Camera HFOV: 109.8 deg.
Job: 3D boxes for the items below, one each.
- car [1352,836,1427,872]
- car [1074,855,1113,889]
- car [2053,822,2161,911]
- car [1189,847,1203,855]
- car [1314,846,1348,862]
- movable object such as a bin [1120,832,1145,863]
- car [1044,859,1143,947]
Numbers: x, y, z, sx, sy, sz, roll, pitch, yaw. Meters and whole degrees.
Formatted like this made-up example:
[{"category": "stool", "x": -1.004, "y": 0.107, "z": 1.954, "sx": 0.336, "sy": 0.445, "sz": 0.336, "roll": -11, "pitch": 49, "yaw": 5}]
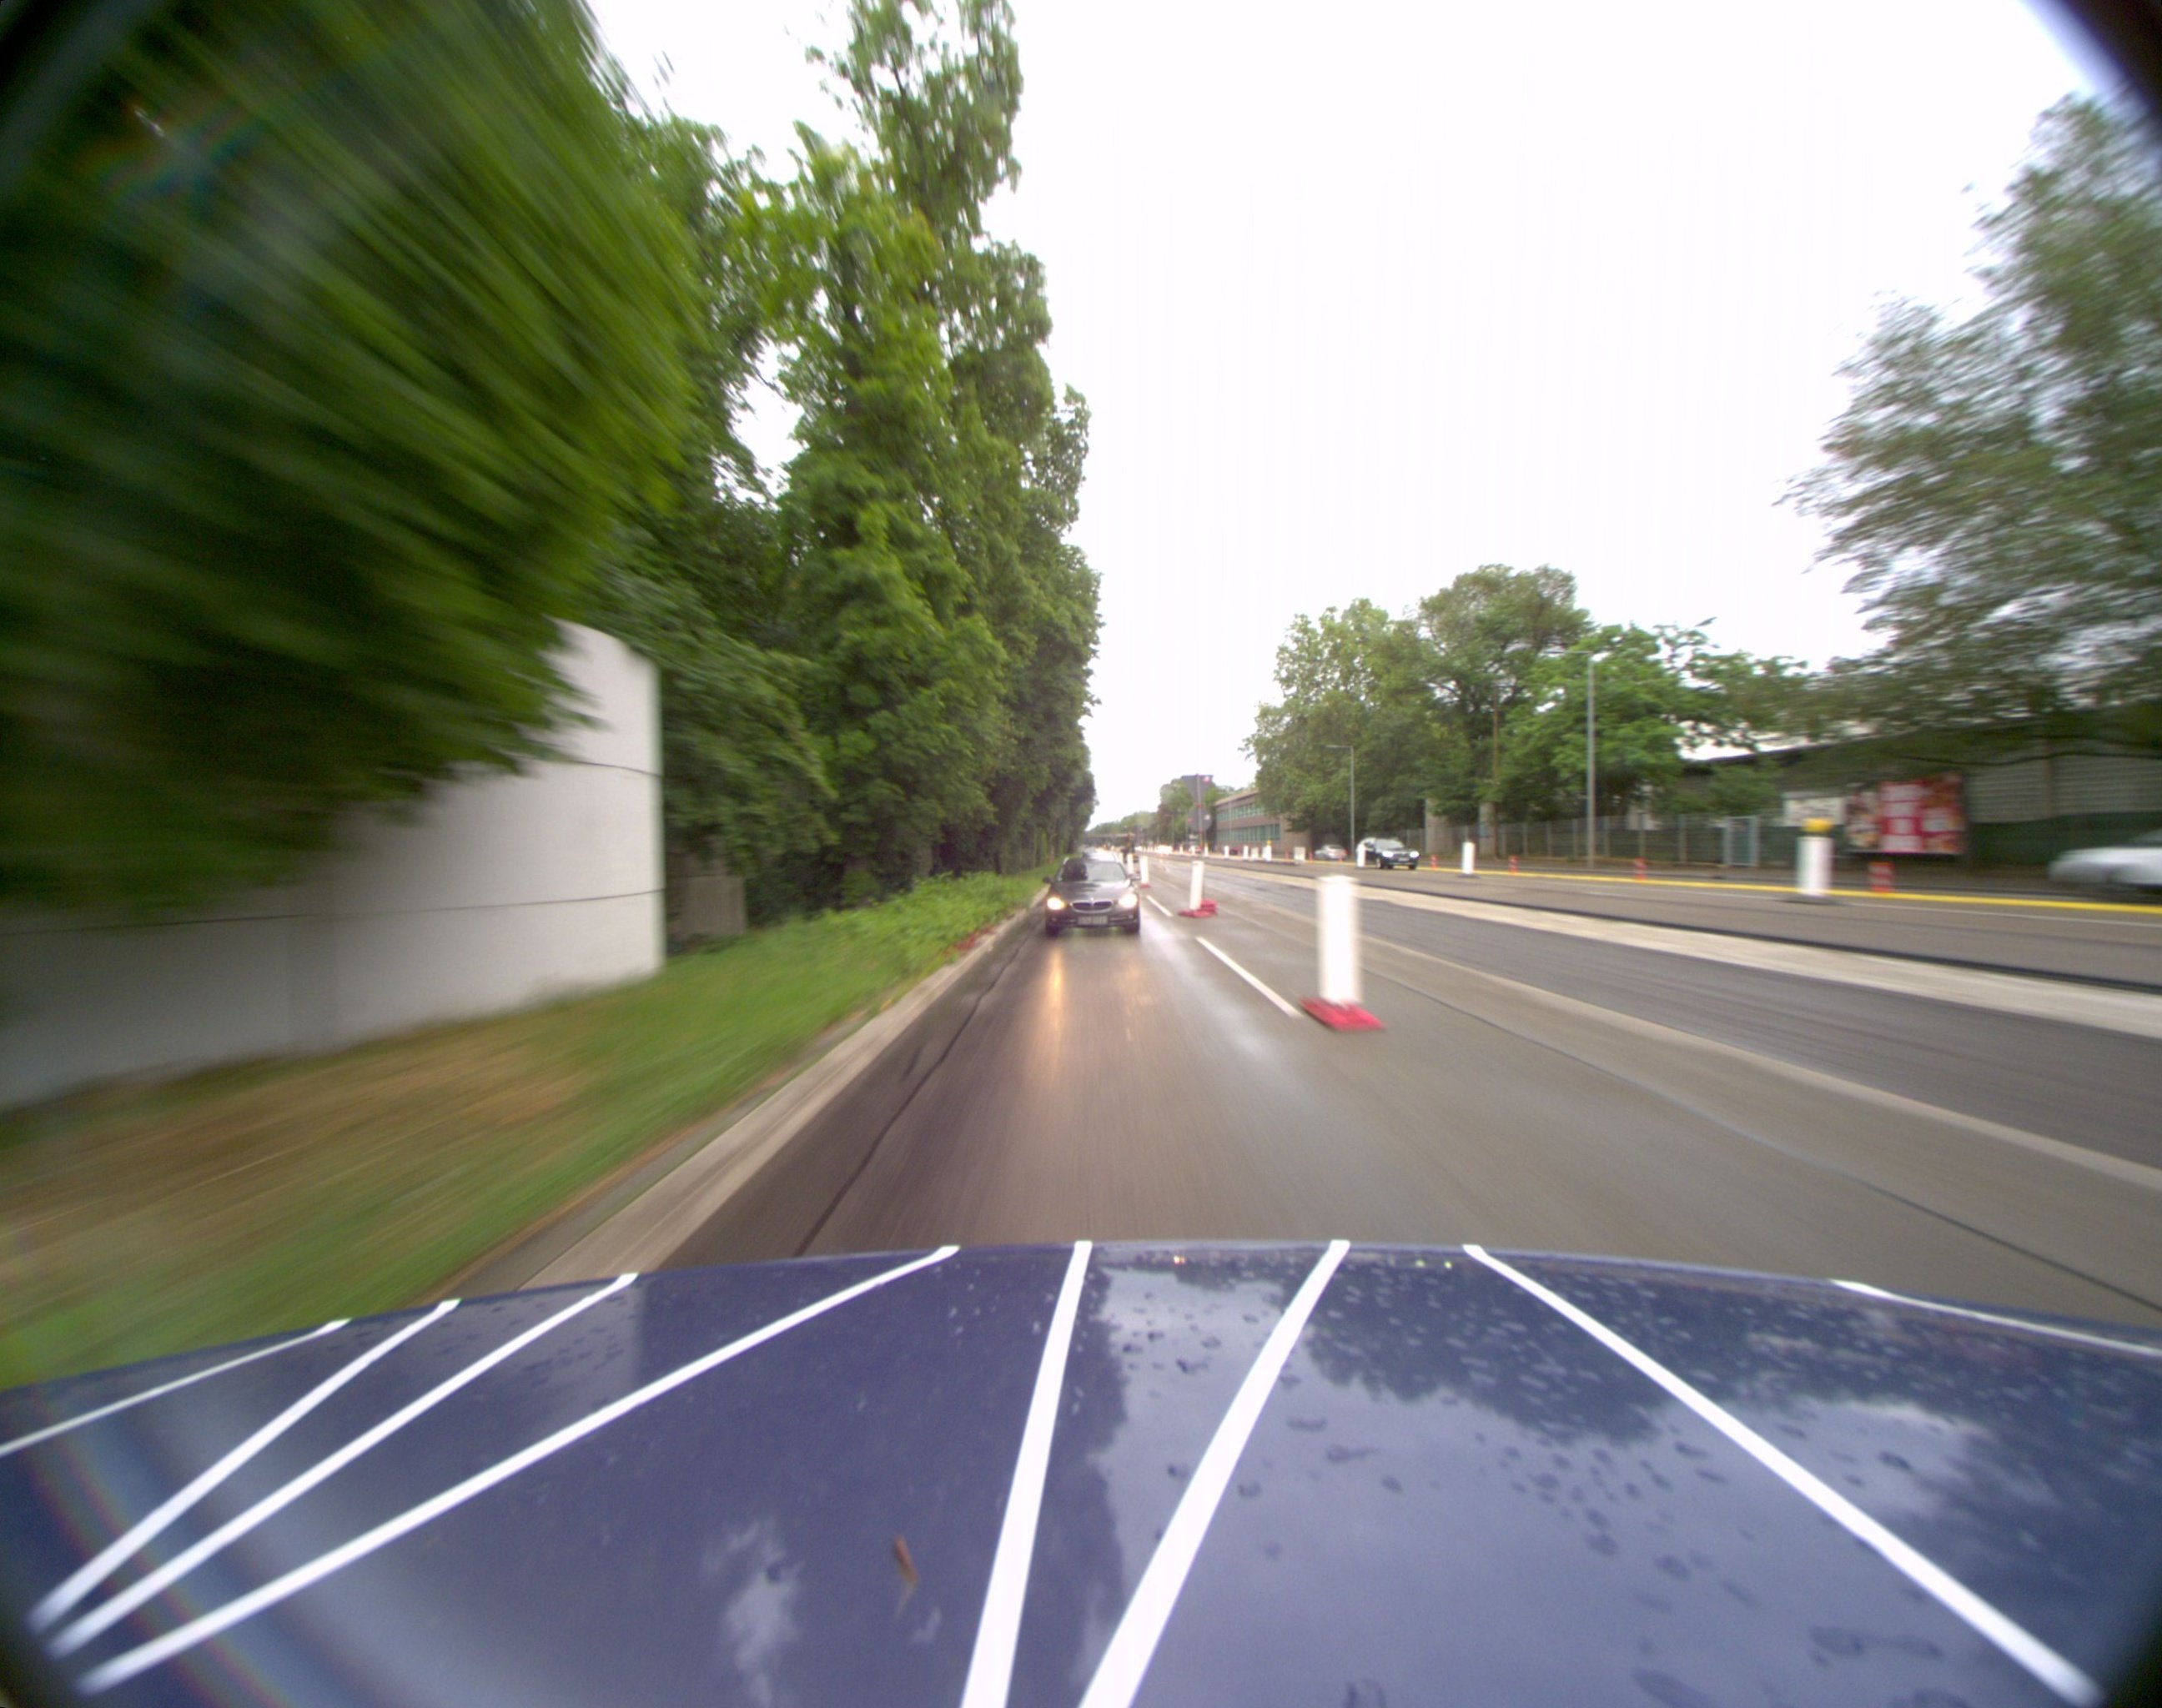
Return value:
[{"category": "car", "x": 15.979, "y": 0.016, "z": 39.700, "sx": 1.998, "sy": 1.696, "sz": 4.985, "roll": 2, "pitch": 0, "yaw": 2}, {"category": "car", "x": 0.625, "y": 0.825, "z": 37.385, "sx": 1.742, "sy": 1.454, "sz": 4.458, "roll": -1, "pitch": 1, "yaw": 1}, {"category": "car", "x": 21.546, "y": 0.262, "z": 13.927, "sx": 1.863, "sy": 1.696, "sz": 4.365, "roll": 1, "pitch": 1, "yaw": 1}, {"category": "car", "x": 20.522, "y": -0.543, "z": 135.869, "sx": 1.841, "sy": 1.426, "sz": 4.148, "roll": -1, "pitch": 1, "yaw": 1}, {"category": "car", "x": 22.108, "y": -0.048, "z": 67.296, "sx": 1.671, "sy": 1.308, "sz": 4.454, "roll": 1, "pitch": 1, "yaw": 1}, {"category": "movable object such as a bin", "x": 5.425, "y": -0.719, "z": 80.327, "sx": 1.999, "sy": 3.084, "sz": 5.622, "roll": -1, "pitch": 1, "yaw": -2}, {"category": "car", "x": 0.272, "y": 0.888, "z": 15.794, "sx": 1.742, "sy": 1.454, "sz": 4.458, "roll": -1, "pitch": 1, "yaw": 1}]
